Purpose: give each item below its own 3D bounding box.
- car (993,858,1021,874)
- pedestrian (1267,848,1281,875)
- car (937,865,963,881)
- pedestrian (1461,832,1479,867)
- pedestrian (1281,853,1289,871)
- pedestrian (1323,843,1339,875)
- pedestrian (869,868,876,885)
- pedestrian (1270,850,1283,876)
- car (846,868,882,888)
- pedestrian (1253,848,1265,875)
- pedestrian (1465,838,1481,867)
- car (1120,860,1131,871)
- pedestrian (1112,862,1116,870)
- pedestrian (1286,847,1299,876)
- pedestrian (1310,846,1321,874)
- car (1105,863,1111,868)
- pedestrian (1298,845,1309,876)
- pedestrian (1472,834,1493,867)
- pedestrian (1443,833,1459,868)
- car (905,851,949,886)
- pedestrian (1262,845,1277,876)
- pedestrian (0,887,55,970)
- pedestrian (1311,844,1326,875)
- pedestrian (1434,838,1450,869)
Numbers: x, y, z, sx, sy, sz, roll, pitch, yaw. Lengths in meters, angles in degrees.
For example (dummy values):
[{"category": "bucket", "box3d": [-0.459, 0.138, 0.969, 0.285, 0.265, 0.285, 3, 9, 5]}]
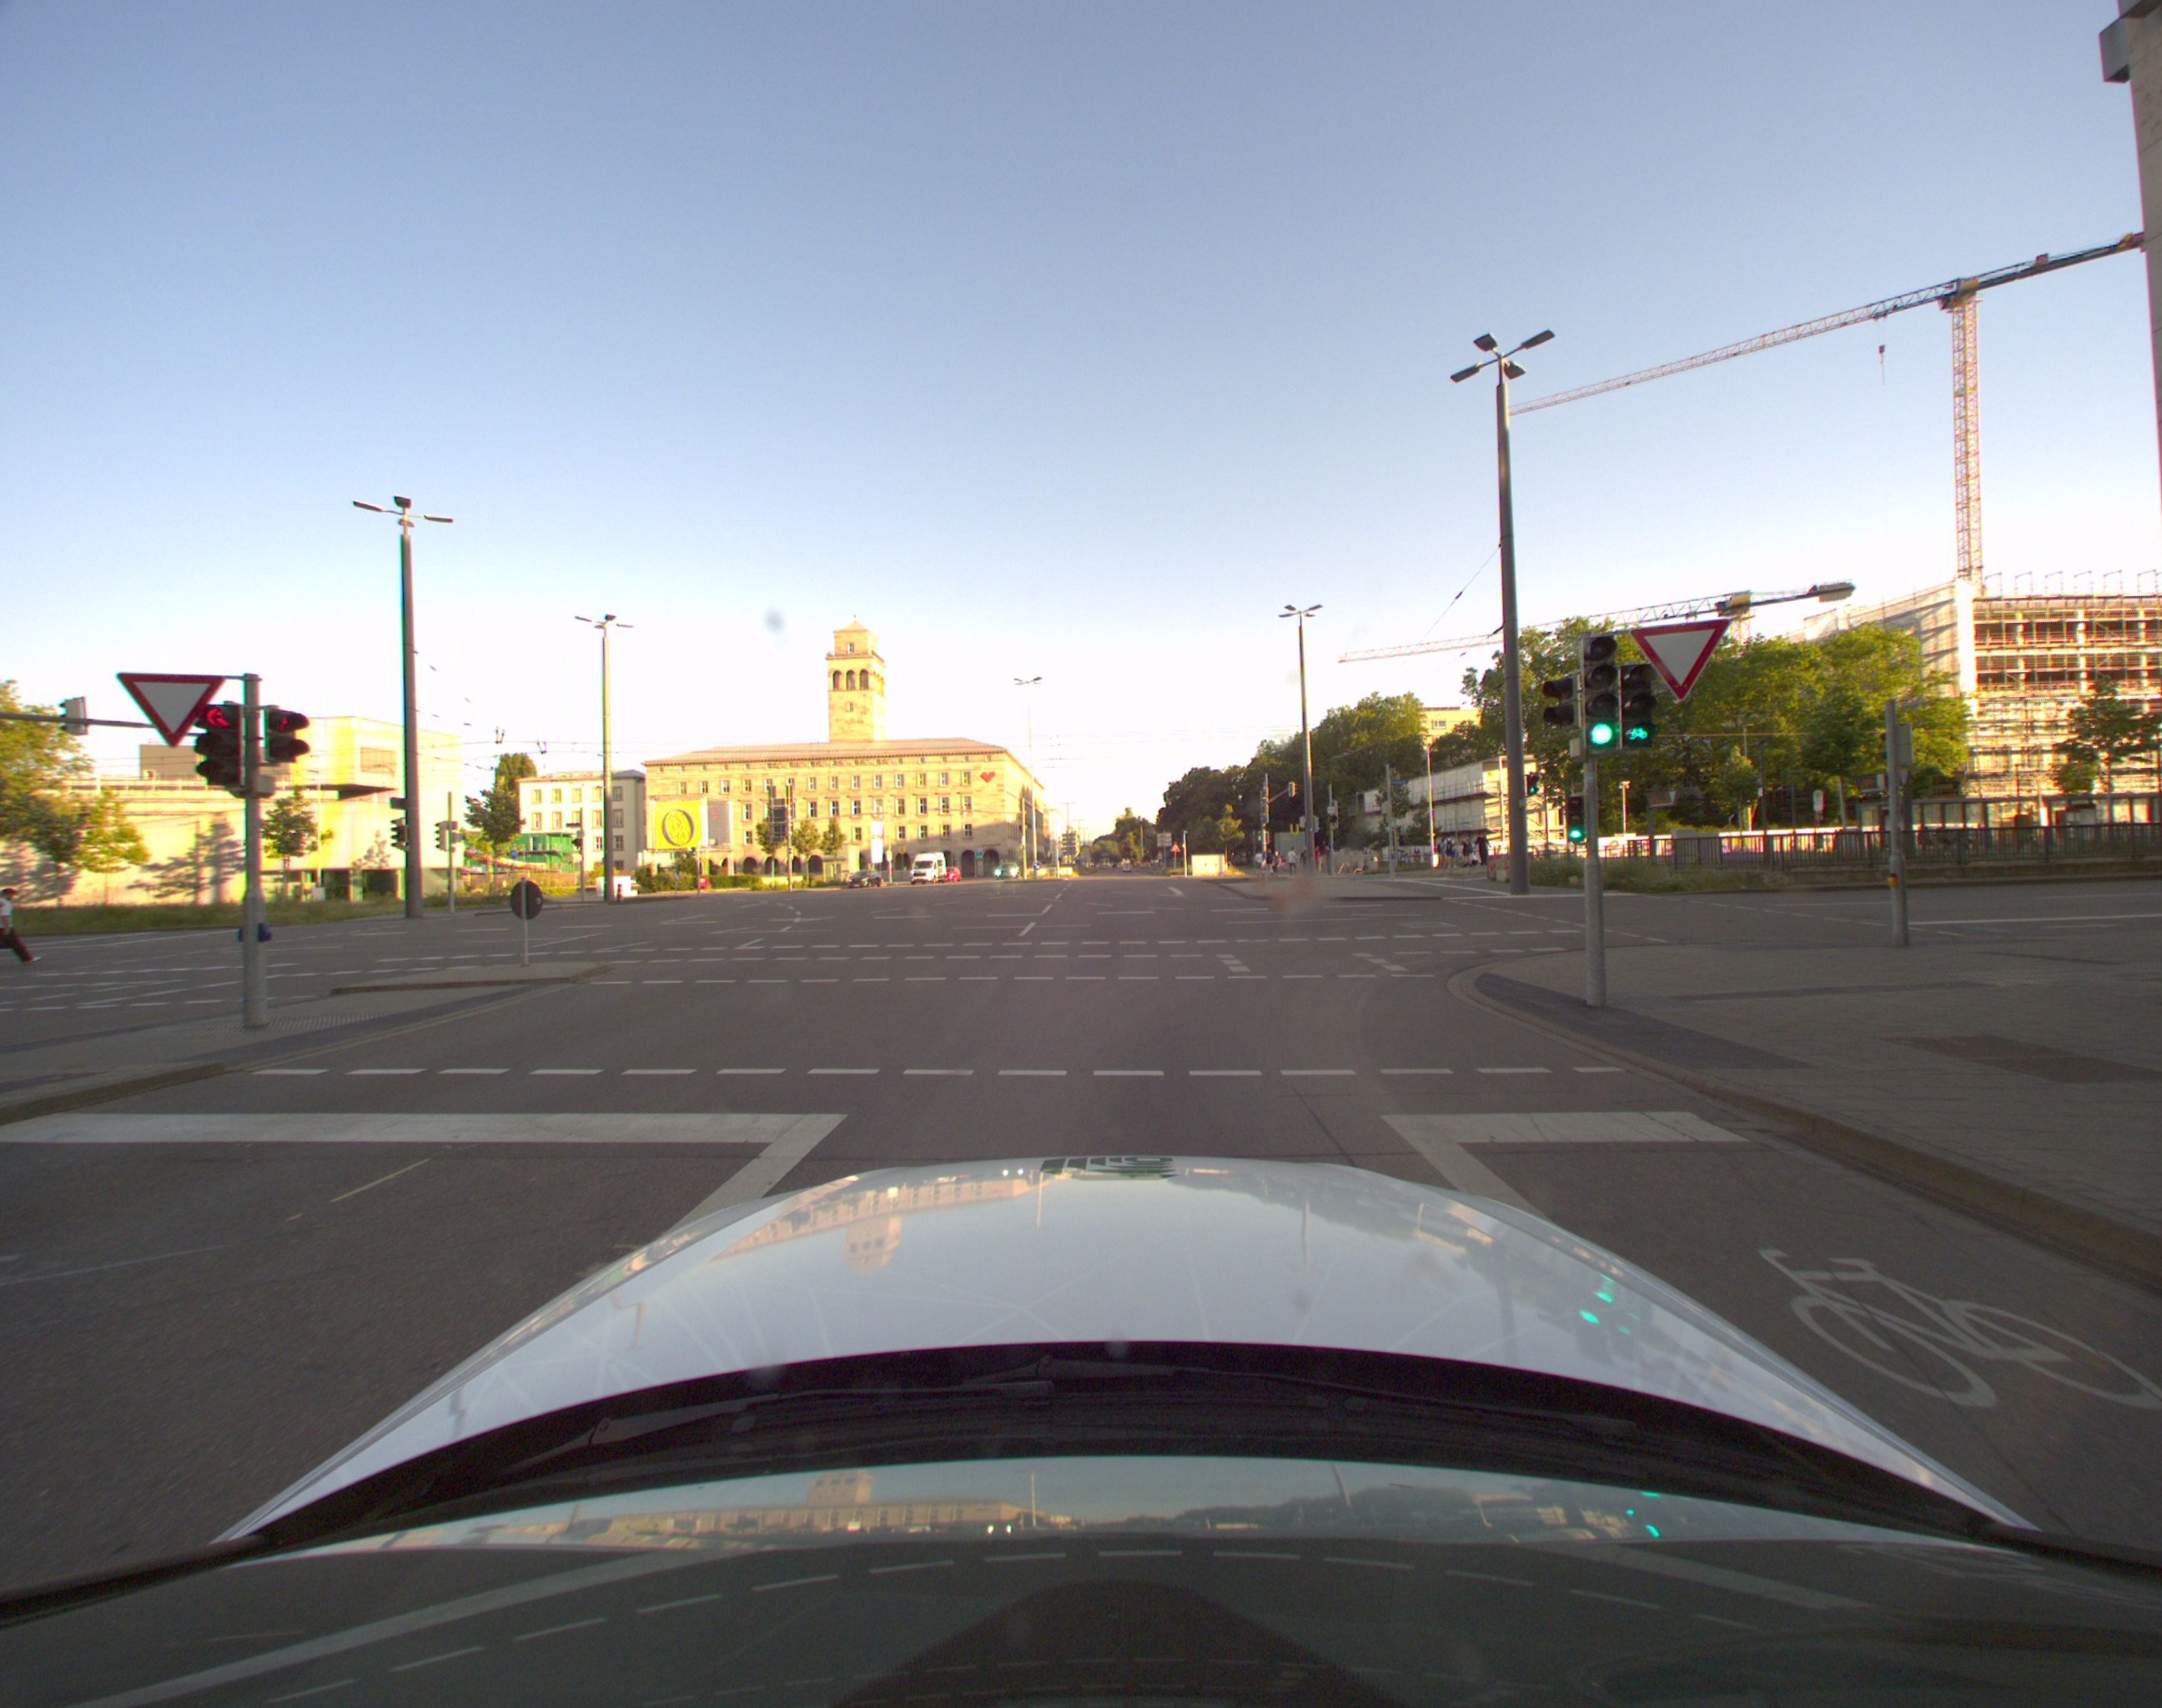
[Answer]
[{"category": "car", "box3d": [-6.408, 1.027, 70.924, 1.815, 1.342, 4.004, -2, 0, 4]}, {"category": "pedestrian", "box3d": [12.284, 0.464, 51.827, 0.705, 1.725, 0.671, -2, 0, 19]}, {"category": "car", "box3d": [-12.793, 1.834, 79.707, 1.732, 1.487, 4.001, -2, 0, 1]}, {"category": "pedestrian", "box3d": [19.756, -0.220, 41.344, 0.705, 1.725, 0.671, -2, -1, 19]}, {"category": "pedestrian", "box3d": [21.258, 0.809, 84.799, 0.662, 1.842, 0.714, -2, 0, 7]}, {"category": "pedestrian", "box3d": [14.582, 0.281, 47.504, 0.799, 1.791, 0.803, -2, 0, 14]}, {"category": "pedestrian", "box3d": [-20.856, 2.241, 81.362, 0.620, 1.744, 0.459, 0, -2, -4]}, {"category": "pedestrian", "box3d": [13.884, 0.635, 57.767, 0.673, 1.757, 0.907, -2, 0, 22]}, {"category": "car", "box3d": [-18.355, 2.018, 69.031, 1.817, 1.466, 4.158, -2, 0, 0]}, {"category": "pedestrian", "box3d": [11.366, 0.475, 52.023, 0.705, 1.725, 0.671, -2, 0, 15]}, {"category": "pedestrian", "box3d": [20.244, -0.070, 42.058, 0.670, 1.441, 0.718, -2, -1, 24]}, {"category": "car", "box3d": [7.504, 1.942, 137.433, 1.478, 1.696, 2.973, -2, 0, 0]}, {"category": "pedestrian", "box3d": [7.884, 2.846, 192.737, 0.903, 1.671, 1.307, -2, 0, 1]}, {"category": "pedestrian", "box3d": [12.635, 0.456, 48.646, 0.706, 1.725, 0.918, -2, 0, 13]}, {"category": "pedestrian", "box3d": [14.145, 0.366, 49.052, 0.568, 1.679, 0.641, -2, 0, 16]}, {"category": "car", "box3d": [7.753, 3.297, 233.307, 1.364, 1.234, 3.048, -2, 0, 4]}, {"category": "pedestrian", "box3d": [13.064, 0.384, 47.842, 0.568, 1.791, 0.641, -2, 0, 16]}, {"category": "pedestrian", "box3d": [21.243, -0.198, 43.069, 0.708, 1.725, 0.668, -2, -1, 0]}, {"category": "pedestrian", "box3d": [18.872, -0.184, 41.534, 0.704, 1.725, 0.672, -2, -1, 25]}, {"category": "car", "box3d": [-13.347, 1.227, 71.086, 2.269, 2.776, 6.089, -2, 0, 4]}, {"category": "pedestrian", "box3d": [10.952, 0.373, 47.363, 0.707, 1.725, 0.916, -2, 0, 4]}, {"category": "pedestrian", "box3d": [-23.263, 1.602, 17.632, 0.819, 1.721, 0.958, -2, -1, -2]}, {"category": "pedestrian", "box3d": [13.535, 0.318, 46.398, 0.697, 1.734, 0.851, -2, 0, 18]}, {"category": "pedestrian", "box3d": [18.900, -0.041, 42.648, 0.568, 1.592, 0.537, -2, -1, 2]}]
